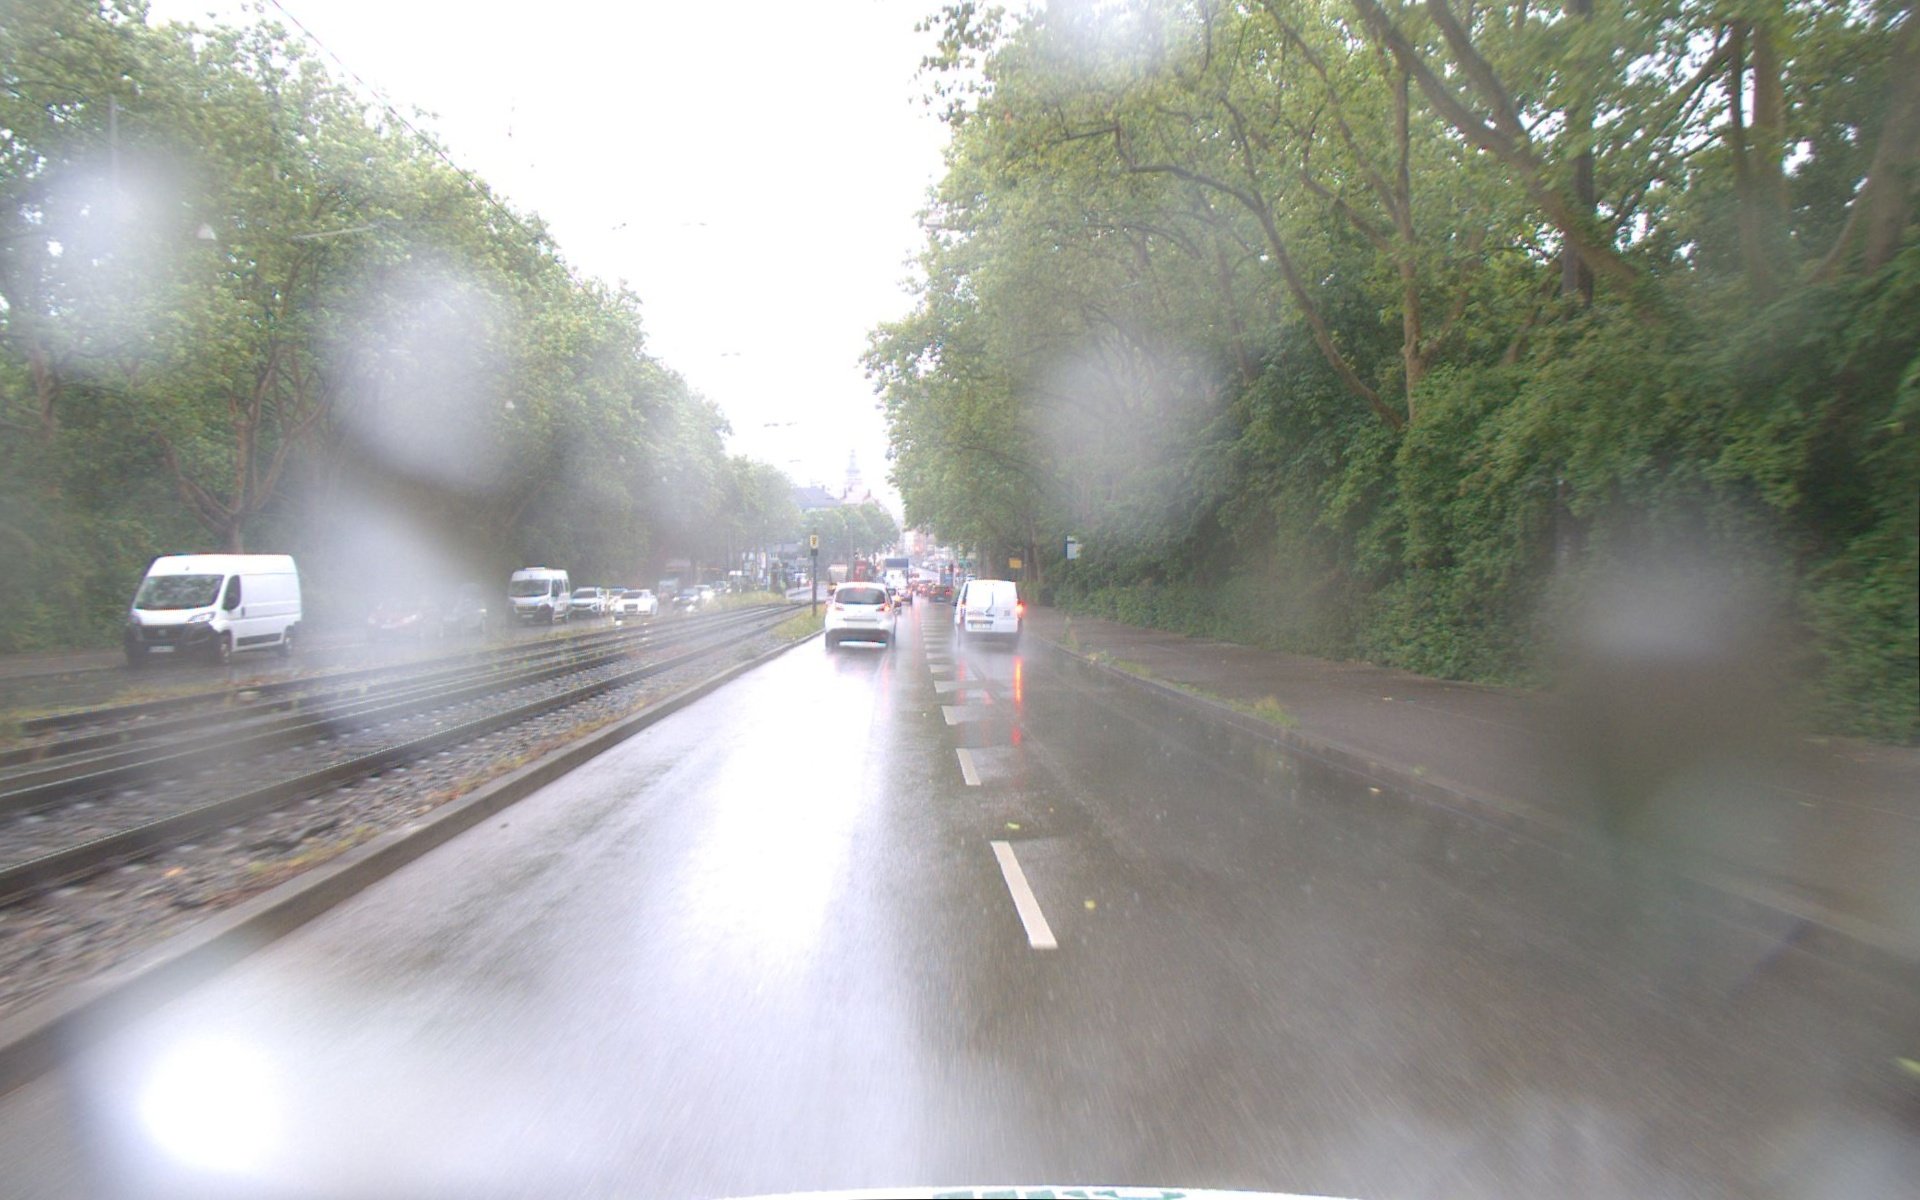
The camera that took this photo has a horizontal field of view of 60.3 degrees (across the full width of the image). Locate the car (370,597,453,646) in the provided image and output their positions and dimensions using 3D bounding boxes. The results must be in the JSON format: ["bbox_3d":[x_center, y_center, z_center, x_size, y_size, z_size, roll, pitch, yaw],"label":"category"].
[{"bbox_3d":[-17.712,0.661,53.581,1.476,1.373,4.025,-2,2,-3],"label":"car"}]

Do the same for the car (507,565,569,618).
[{"bbox_3d":[-18.943,-0.415,74.345,1.764,2.260,4.275,-2,2,-3],"label":"car"}]

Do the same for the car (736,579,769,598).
[{"bbox_3d":[-17.077,-0.949,136.308,1.766,1.373,4.267,-2,2,6],"label":"car"}]

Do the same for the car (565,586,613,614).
[{"bbox_3d":[-20.259,-0.020,90.413,1.769,1.373,4.262,-2,2,-3],"label":"car"}]

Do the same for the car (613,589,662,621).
[{"bbox_3d":[-16.054,0.229,82.492,1.769,1.373,4.262,-2,2,-3],"label":"car"}]

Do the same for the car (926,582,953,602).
[{"bbox_3d":[-1.536,-0.617,123.455,1.953,1.344,4.000,1,1,-1],"label":"car"}]

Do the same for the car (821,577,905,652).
[{"bbox_3d":[-2.461,0.332,42.905,1.953,1.746,4.000,1,1,-1],"label":"car"}]

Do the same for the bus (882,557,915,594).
[{"bbox_3d":[-6.880,-2.797,186.054,3.320,3.903,9.738,1,1,-1],"label":"bus"}]

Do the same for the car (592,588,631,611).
[{"bbox_3d":[-22.673,-0.051,107.779,1.769,1.373,4.262,-2,2,-3],"label":"car"}]

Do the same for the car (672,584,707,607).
[{"bbox_3d":[-17.927,-0.307,109.677,1.769,1.373,4.262,-2,2,-3],"label":"car"}]

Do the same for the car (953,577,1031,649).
[{"bbox_3d":[0.811,0.312,44.614,1.953,1.756,4.000,1,1,-1],"label":"car"}]

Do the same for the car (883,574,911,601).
[{"bbox_3d":[-4.697,-0.964,124.416,1.953,1.858,4.000,1,1,-1],"label":"car"}]

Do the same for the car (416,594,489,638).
[{"bbox_3d":[-18.186,0.537,59.385,1.476,1.373,4.025,-2,2,-3],"label":"car"}]

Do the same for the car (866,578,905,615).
[{"bbox_3d":[-4.041,-0.221,89.861,1.953,1.858,4.000,1,1,-1],"label":"car"}]

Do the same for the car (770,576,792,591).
[{"bbox_3d":[-17.427,-1.609,161.031,1.769,1.373,4.262,-2,2,-3],"label":"car"}]

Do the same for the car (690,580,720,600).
[{"bbox_3d":[-19.415,-0.751,126.190,1.769,1.373,4.262,-2,2,-3],"label":"car"}]

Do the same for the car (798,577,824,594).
[{"bbox_3d":[-13.966,-1.382,155.351,1.767,1.373,4.266,-2,2,2],"label":"car"}]

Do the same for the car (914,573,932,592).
[{"bbox_3d":[-3.984,-1.896,178.611,1.953,1.858,4.000,1,1,-1],"label":"car"}]

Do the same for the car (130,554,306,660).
[{"bbox_3d":[-16.959,0.069,38.148,1.707,2.207,5.810,-2,2,-4],"label":"car"}]

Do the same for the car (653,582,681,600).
[{"bbox_3d":[-24.632,-0.787,139.247,1.769,1.373,4.262,-2,2,-3],"label":"car"}]
